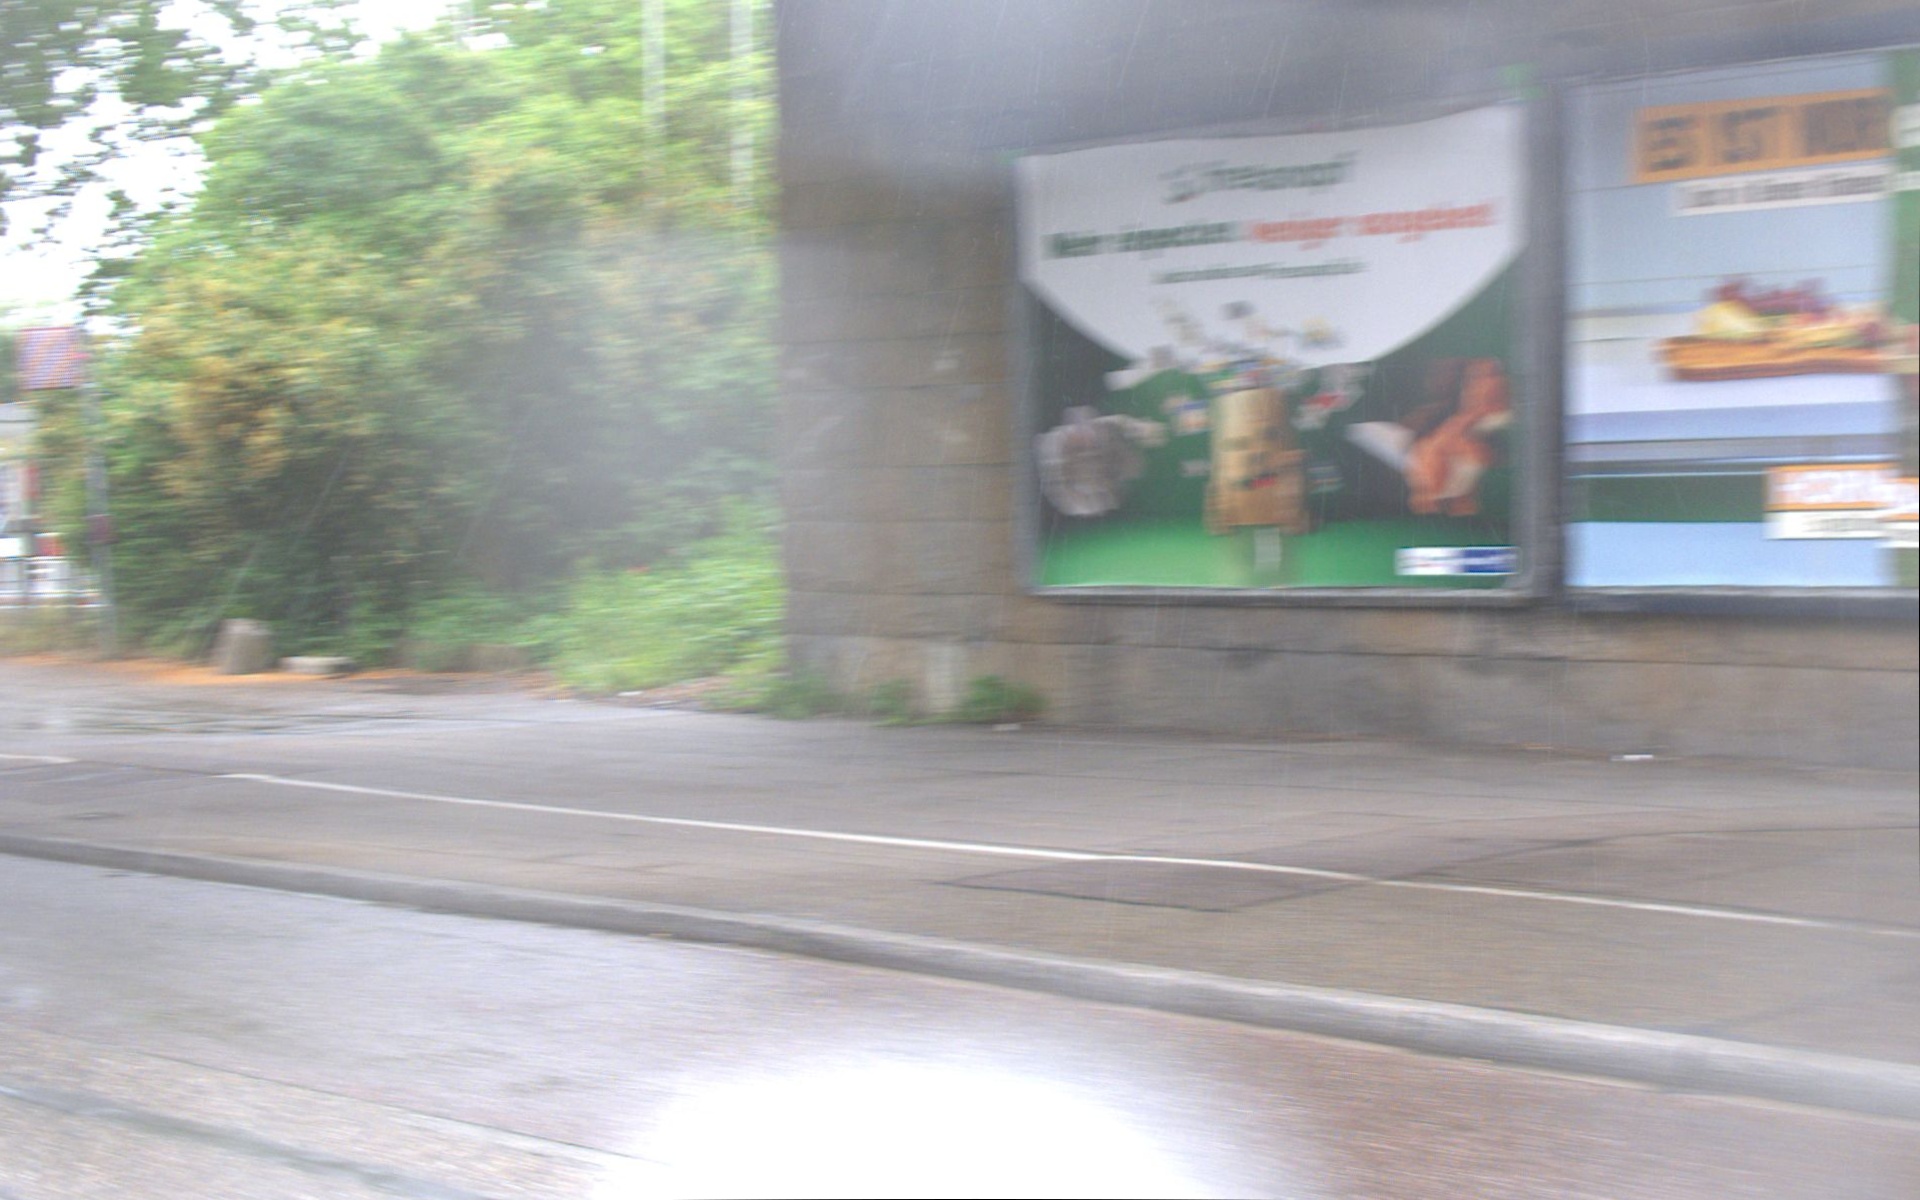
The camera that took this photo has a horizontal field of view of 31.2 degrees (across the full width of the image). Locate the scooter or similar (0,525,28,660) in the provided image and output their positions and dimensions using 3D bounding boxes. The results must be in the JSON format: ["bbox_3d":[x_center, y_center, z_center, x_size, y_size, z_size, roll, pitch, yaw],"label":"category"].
[{"bbox_3d":[-9.010,-0.067,31.101,0.770,1.174,1.548,-4,4,-26],"label":"scooter or similar"}]
